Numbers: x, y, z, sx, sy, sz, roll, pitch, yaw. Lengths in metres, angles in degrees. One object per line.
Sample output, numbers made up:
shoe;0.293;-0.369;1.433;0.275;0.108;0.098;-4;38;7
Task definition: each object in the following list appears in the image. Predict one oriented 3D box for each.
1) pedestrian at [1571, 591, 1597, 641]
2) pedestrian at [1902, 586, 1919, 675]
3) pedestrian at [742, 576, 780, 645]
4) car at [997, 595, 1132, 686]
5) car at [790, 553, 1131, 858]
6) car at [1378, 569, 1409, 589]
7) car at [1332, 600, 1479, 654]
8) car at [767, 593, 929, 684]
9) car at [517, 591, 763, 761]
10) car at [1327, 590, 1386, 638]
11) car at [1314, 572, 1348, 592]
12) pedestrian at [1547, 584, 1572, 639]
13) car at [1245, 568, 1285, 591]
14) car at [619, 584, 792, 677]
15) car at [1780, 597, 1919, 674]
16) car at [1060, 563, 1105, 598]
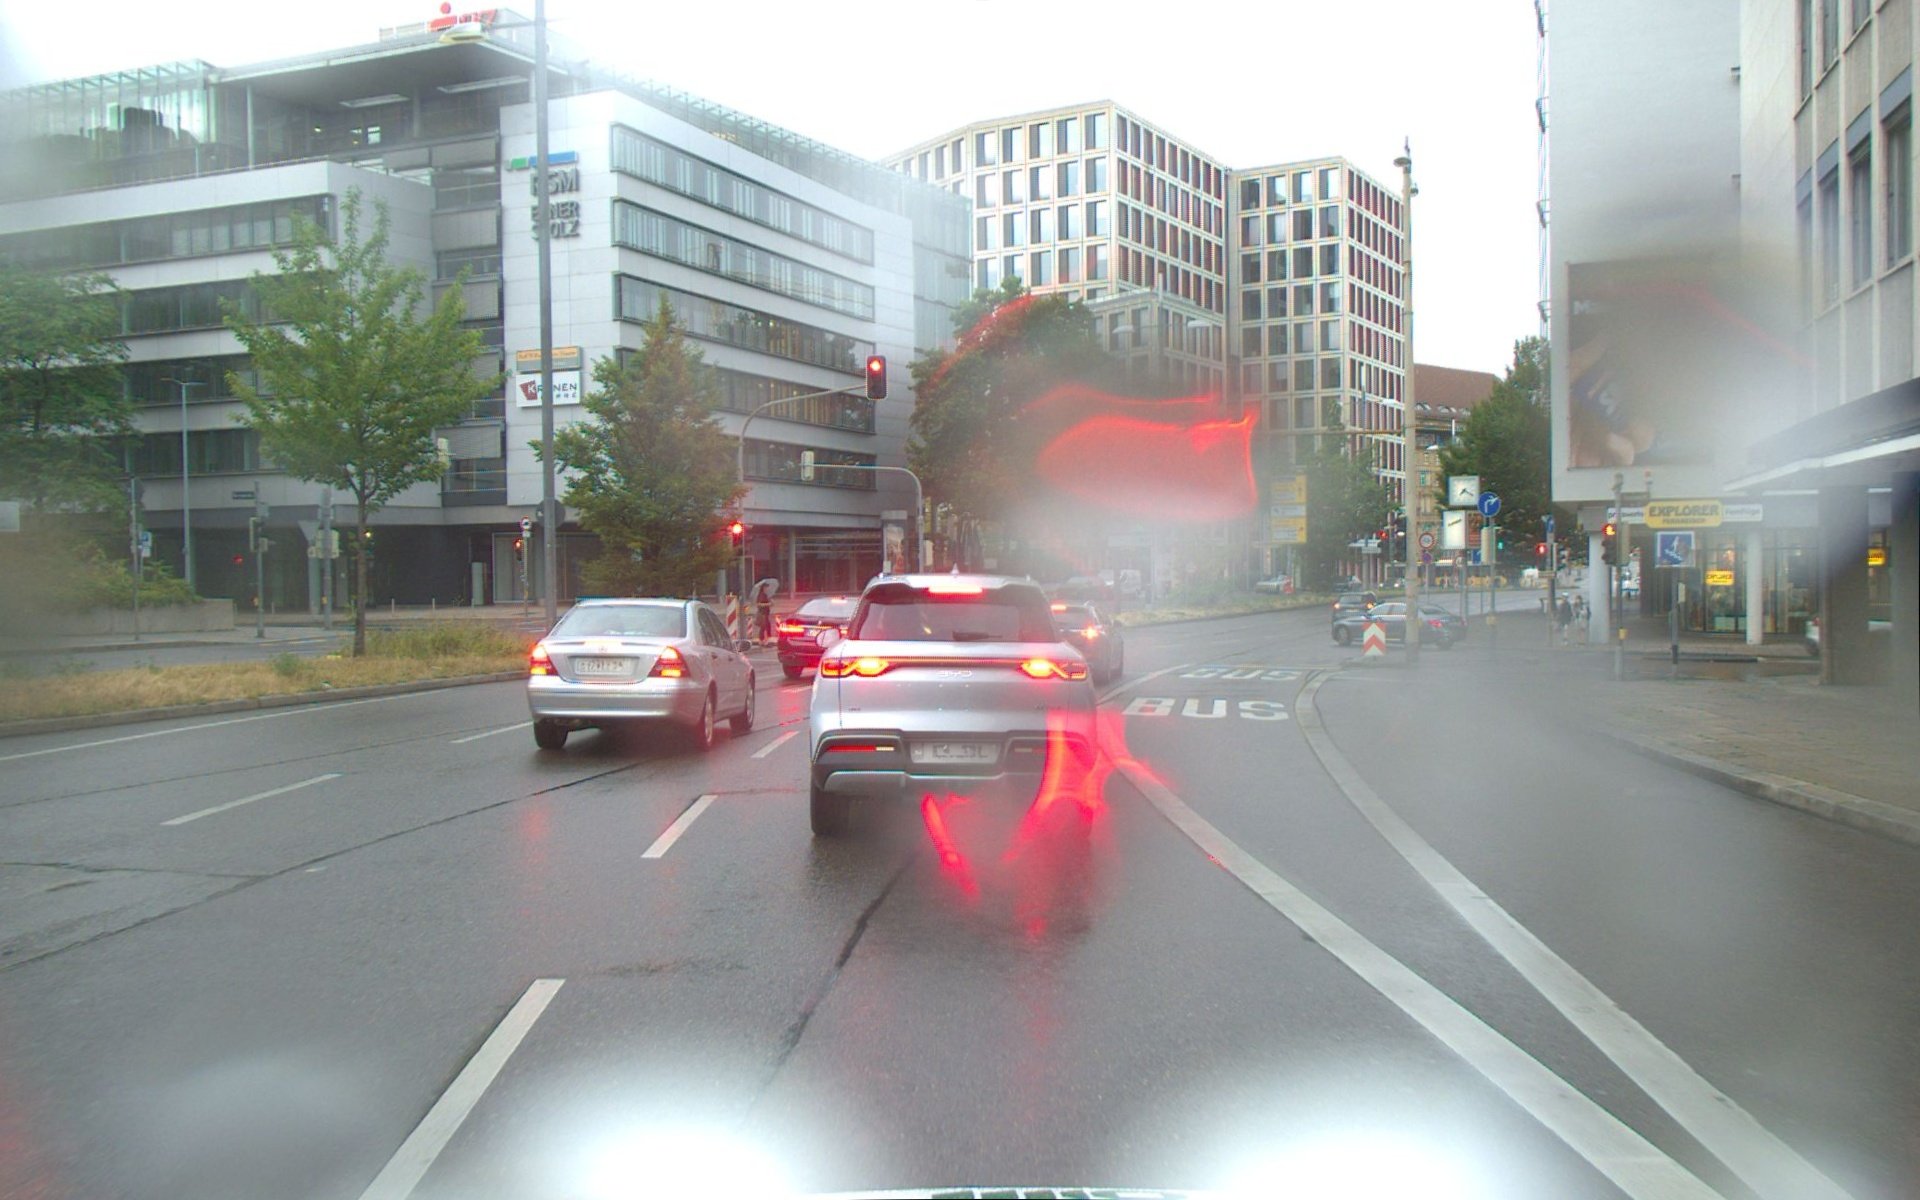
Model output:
pedestrian;19.527;0.512;51.741;0.712;1.551;0.760;0;-1;17
pedestrian;20.216;0.627;34.552;0.795;1.830;0.711;0;0;17
pedestrian;-5.159;0.260;42.913;0.903;1.768;0.729;0;0;-3
car;2.023;0.694;30.910;1.913;1.557;4.003;0;0;13
car;-0.050;0.585;11.725;1.953;1.739;4.481;0;0;-2
car;40.872;-1.983;155.844;1.956;1.735;3.994;1;2;29
car;14.105;0.816;52.540;1.895;1.536;4.300;1;1;-36
car;-1.985;0.650;30.538;1.913;1.557;4.003;0;0;13
car;-3.119;0.670;16.942;1.647;1.512;4.197;0;0;1
car;15.907;0.527;66.256;2.004;1.796;4.359;1;1;17
car;34.206;-1.647;152.436;1.956;1.735;4.302;1;2;29
pedestrian;18.822;0.361;51.947;0.712;1.698;0.691;0;-1;17
car;24.728;-1.651;133.951;1.956;1.735;4.302;1;2;29
car;-4.722;0.521;31.261;1.844;1.624;4.003;0;0;14
car;22.455;0.840;40.264;4.427;1.780;1.998;0;1;26
car;7.798;-1.219;105.352;1.701;2.199;4.495;1;0;20
